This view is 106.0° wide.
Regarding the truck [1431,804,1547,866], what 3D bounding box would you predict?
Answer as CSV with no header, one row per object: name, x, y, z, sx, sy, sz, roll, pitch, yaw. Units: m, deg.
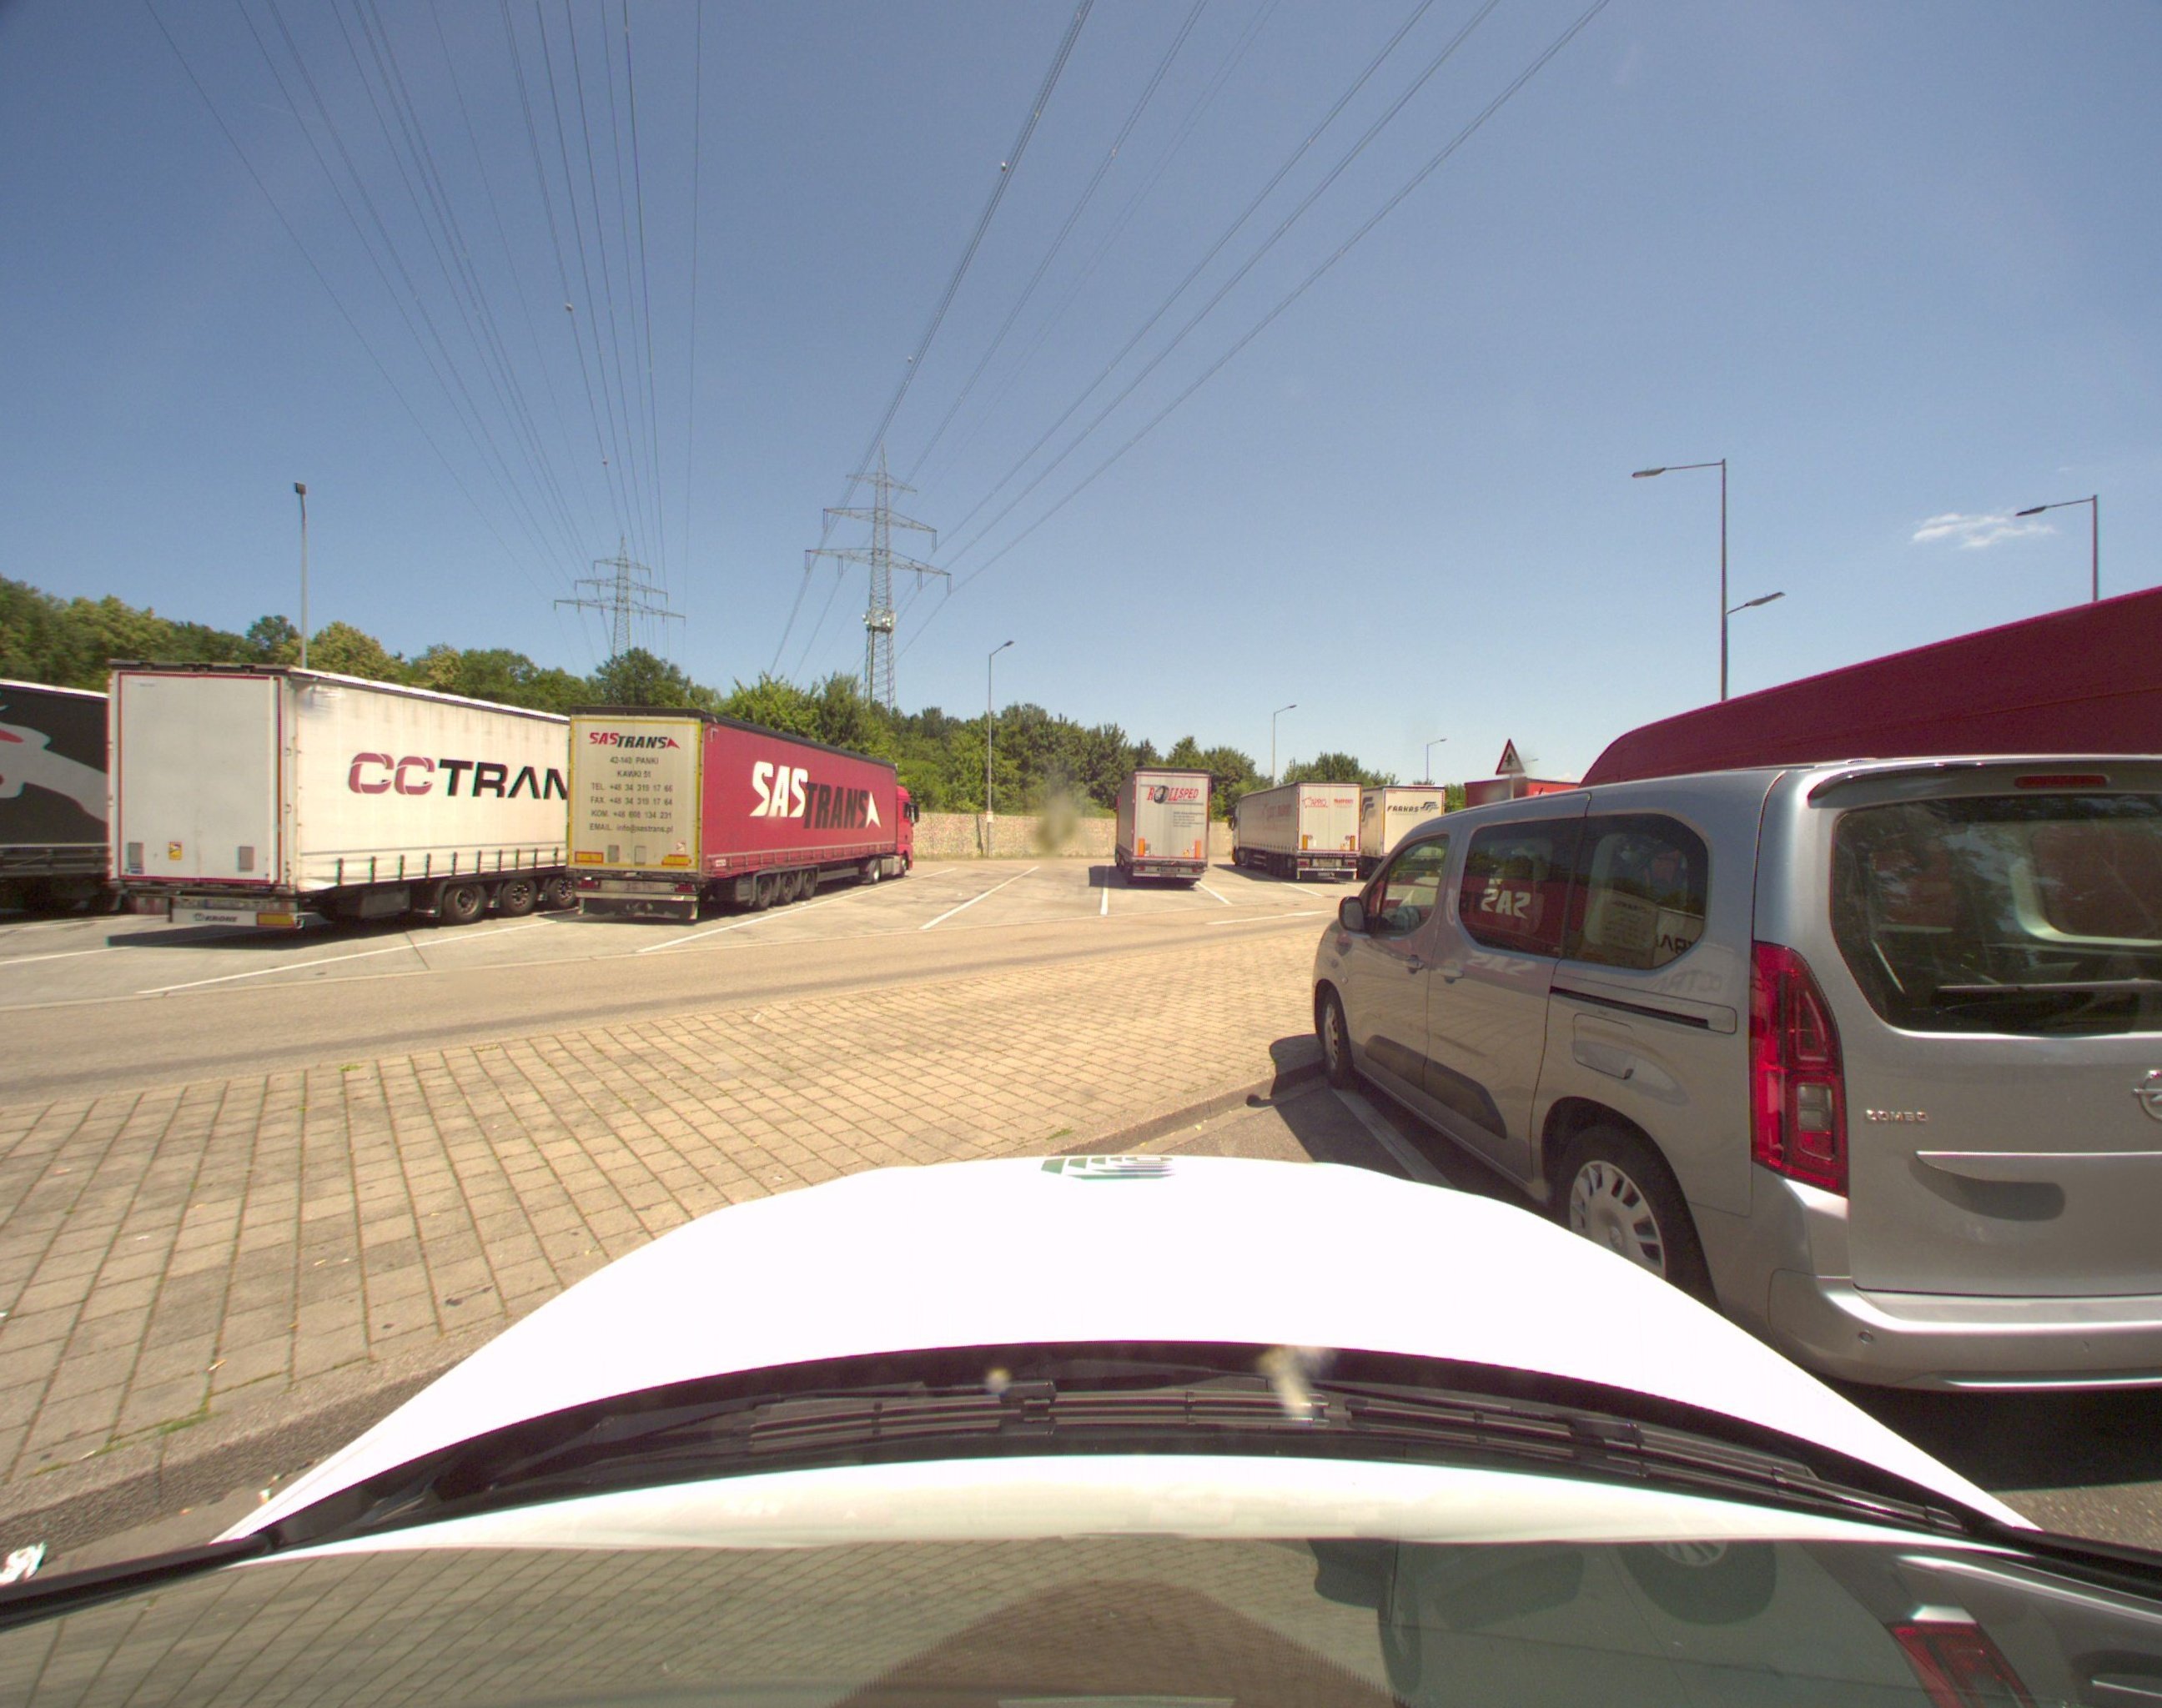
truck,24.463,-1.126,49.423,3.013,3.437,8.534,-1,1,2

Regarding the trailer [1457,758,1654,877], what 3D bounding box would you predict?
trailer,18.979,-1.366,32.367,8.710,4.257,2.816,-1,1,-30

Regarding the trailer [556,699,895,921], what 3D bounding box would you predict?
trailer,-8.043,-0.914,21.601,2.739,4.057,13.292,-1,1,2

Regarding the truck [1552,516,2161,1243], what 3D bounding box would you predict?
truck,5.100,0.055,4.860,1.983,2.623,5.312,-1,1,6

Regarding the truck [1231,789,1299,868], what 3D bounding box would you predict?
truck,10.129,-1.389,45.400,2.747,4.124,5.286,-1,1,2

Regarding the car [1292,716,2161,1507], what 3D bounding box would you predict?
car,2.470,0.534,3.839,1.821,1.753,3.998,-1,1,-2

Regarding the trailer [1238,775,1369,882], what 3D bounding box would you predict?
trailer,9.941,-1.099,38.397,2.865,4.124,13.577,0,1,2

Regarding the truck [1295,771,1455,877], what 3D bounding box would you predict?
truck,13.583,-1.321,39.638,2.894,4.124,14.533,2,1,2

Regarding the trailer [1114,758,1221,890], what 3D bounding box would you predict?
trailer,3.046,-1.183,32.726,3.059,4.227,12.811,1,2,1

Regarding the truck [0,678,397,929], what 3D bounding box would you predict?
truck,-18.511,-0.850,15.954,2.627,4.018,8.640,-1,1,2

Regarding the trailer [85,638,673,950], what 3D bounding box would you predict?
trailer,-12.099,-0.890,16.060,2.734,4.263,9.740,-1,1,3

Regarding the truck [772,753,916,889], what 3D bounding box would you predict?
truck,-7.838,-1.045,28.003,2.733,4.081,6.832,-1,1,1

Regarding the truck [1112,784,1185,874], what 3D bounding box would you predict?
truck,3.128,-1.217,39.499,3.016,3.928,6.848,1,2,1
